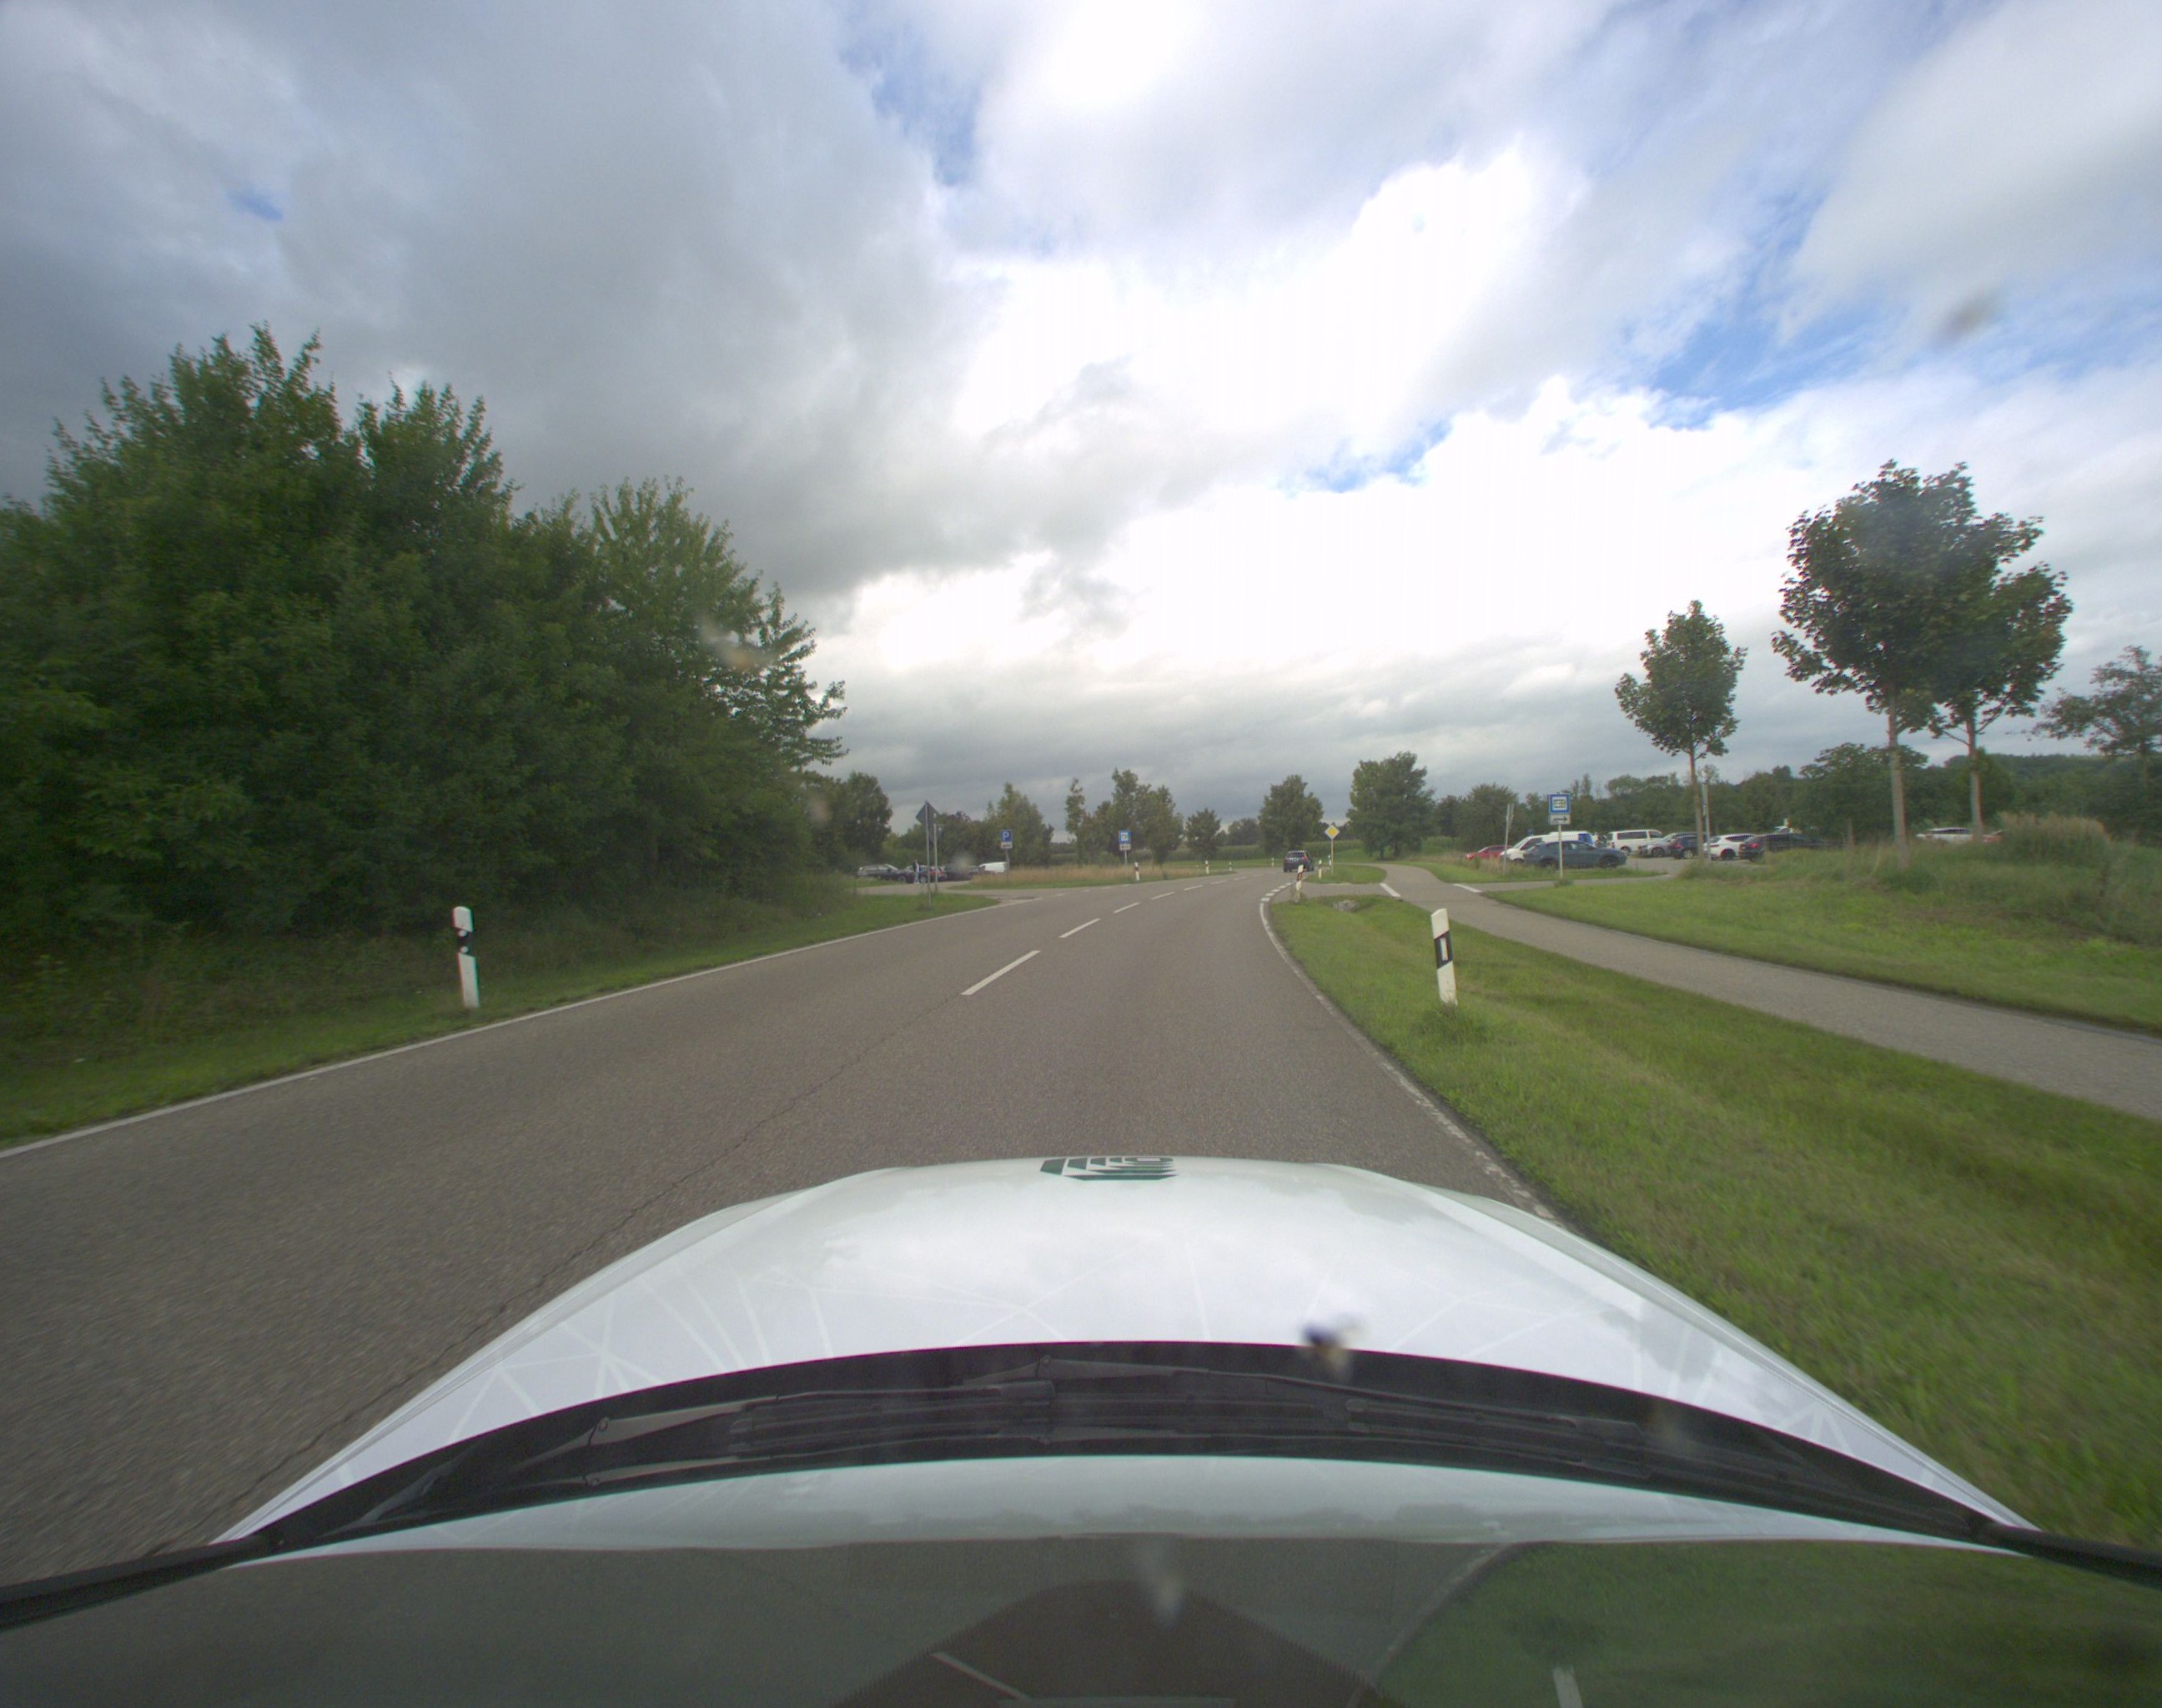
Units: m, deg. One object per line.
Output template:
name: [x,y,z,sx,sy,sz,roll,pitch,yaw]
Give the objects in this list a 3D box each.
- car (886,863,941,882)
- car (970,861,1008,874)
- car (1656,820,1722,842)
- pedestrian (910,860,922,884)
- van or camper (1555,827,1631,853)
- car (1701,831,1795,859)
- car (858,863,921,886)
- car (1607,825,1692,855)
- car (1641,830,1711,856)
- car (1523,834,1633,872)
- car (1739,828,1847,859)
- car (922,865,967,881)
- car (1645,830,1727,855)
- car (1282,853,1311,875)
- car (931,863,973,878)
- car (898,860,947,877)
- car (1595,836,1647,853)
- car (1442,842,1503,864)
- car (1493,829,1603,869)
car: [-13.880,1.535,67.596,3.965,1.380,1.828,-2,0,7]
car: [-10.293,1.515,91.169,3.972,1.380,1.476,-2,0,1]
car: [50.946,-1.911,68.288,3.961,1.596,2.006,-2,0,11]
pedestrian: [-11.594,1.279,57.236,0.512,1.667,0.663,-2,-1,10]
van or camper: [55.695,-1.507,88.690,6.684,2.562,2.060,-2,-1,22]
car: [37.311,-0.484,45.669,3.661,1.391,1.766,-2,0,13]
car: [-14.436,1.524,61.608,4.221,1.566,1.760,-2,0,4]
car: [44.877,-1.078,64.386,4.986,2.000,2.242,-4,-1,17]
car: [41.348,-0.757,56.678,1.770,1.607,3.653,-2,-1,-44]
car: [24.272,-0.045,39.952,4.237,1.566,1.846,-4,-1,18]
car: [35.516,-0.490,40.720,3.657,1.391,1.738,-2,0,18]
car: [-12.831,1.763,76.585,3.980,1.380,1.474,-2,0,-5]
car: [37.522,-0.706,50.578,3.661,1.391,1.766,-2,0,13]
car: [15.169,0.675,57.316,1.827,1.417,4.017,-2,0,16]
car: [-12.733,1.609,80.518,3.978,1.380,1.474,-2,0,-4]
car: [-13.779,1.236,70.733,3.980,1.380,1.473,-2,0,-5]
car: [48.880,-0.846,73.762,3.595,1.440,1.715,-2,0,20]
car: [33.034,-0.075,68.814,4.295,1.575,1.980,-4,-1,17]
car: [25.558,-0.261,44.812,4.906,1.974,1.964,-2,0,18]
